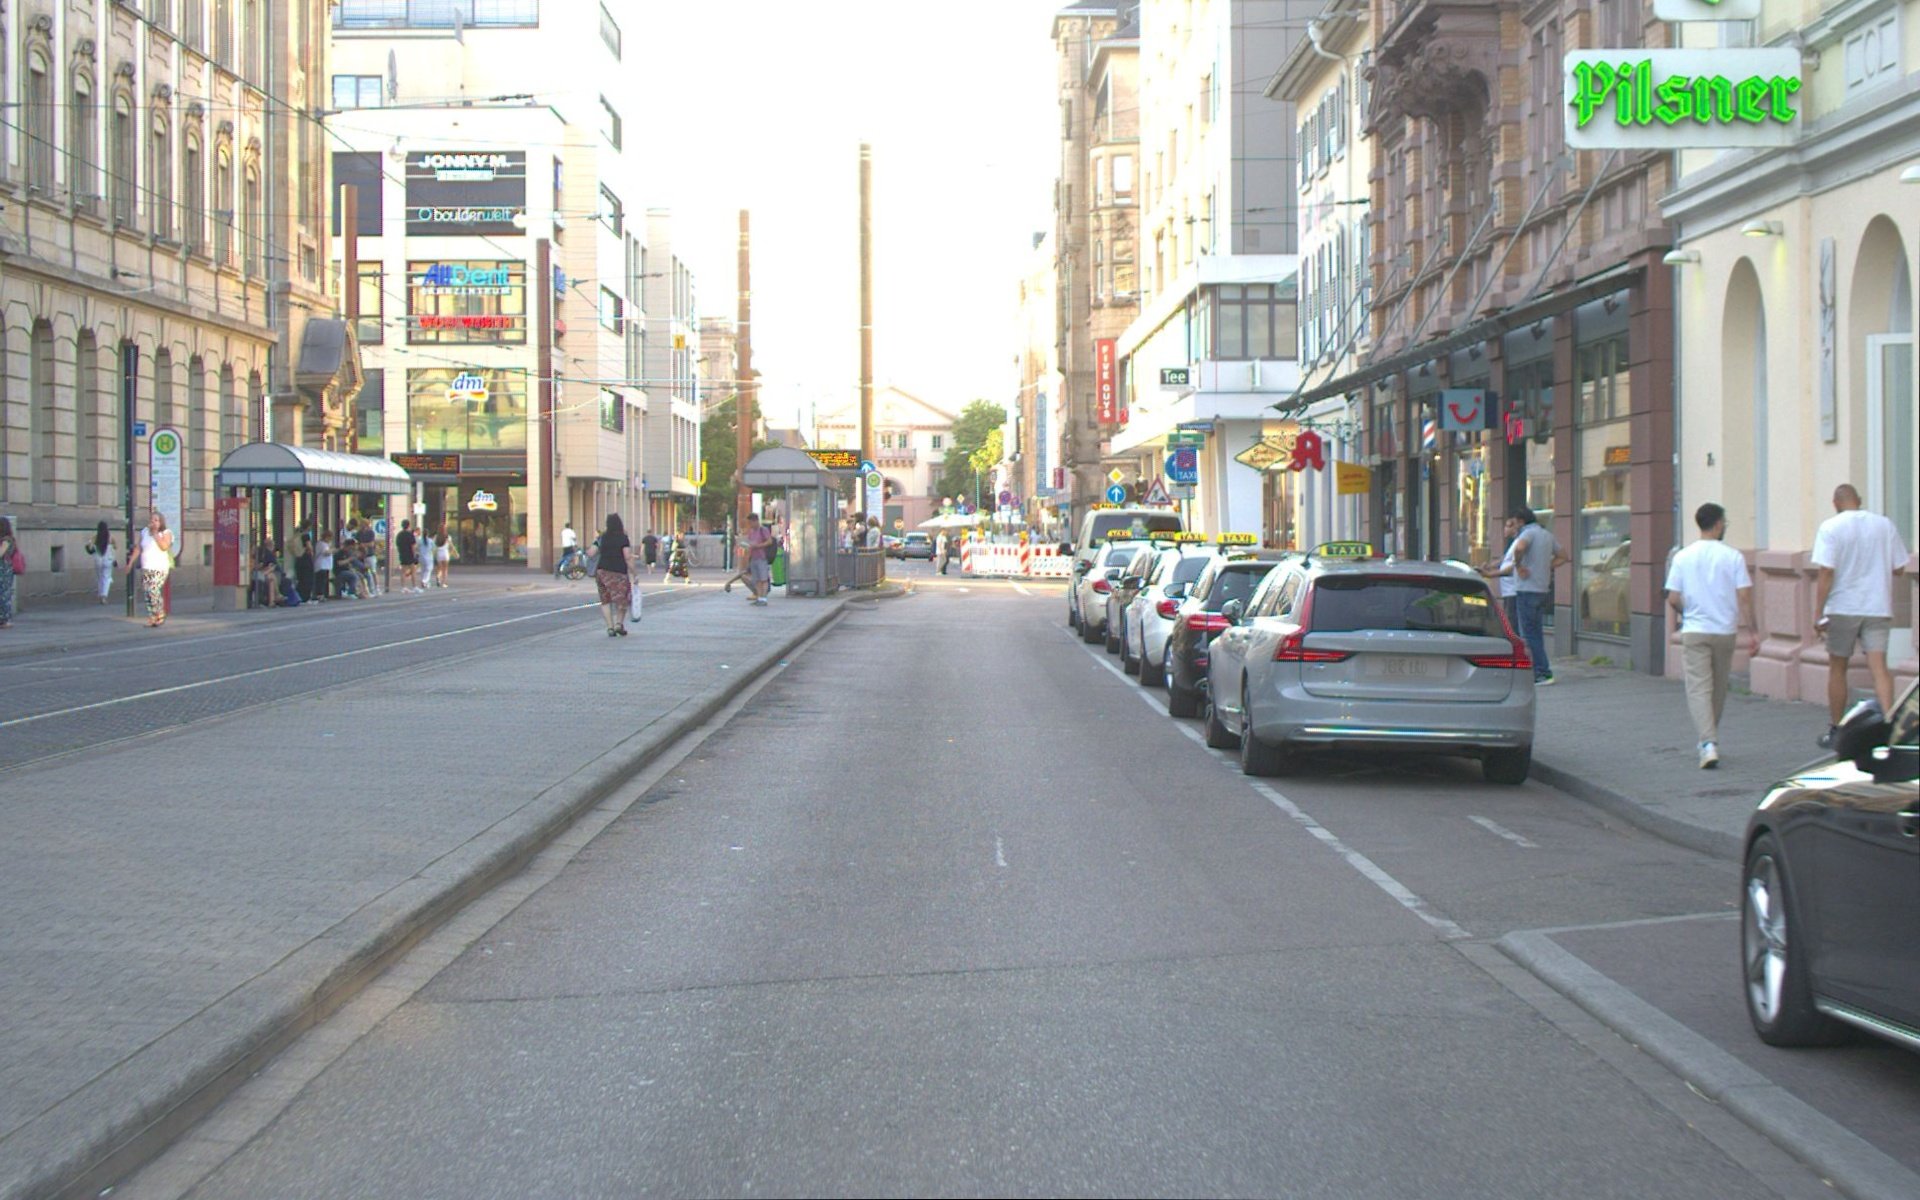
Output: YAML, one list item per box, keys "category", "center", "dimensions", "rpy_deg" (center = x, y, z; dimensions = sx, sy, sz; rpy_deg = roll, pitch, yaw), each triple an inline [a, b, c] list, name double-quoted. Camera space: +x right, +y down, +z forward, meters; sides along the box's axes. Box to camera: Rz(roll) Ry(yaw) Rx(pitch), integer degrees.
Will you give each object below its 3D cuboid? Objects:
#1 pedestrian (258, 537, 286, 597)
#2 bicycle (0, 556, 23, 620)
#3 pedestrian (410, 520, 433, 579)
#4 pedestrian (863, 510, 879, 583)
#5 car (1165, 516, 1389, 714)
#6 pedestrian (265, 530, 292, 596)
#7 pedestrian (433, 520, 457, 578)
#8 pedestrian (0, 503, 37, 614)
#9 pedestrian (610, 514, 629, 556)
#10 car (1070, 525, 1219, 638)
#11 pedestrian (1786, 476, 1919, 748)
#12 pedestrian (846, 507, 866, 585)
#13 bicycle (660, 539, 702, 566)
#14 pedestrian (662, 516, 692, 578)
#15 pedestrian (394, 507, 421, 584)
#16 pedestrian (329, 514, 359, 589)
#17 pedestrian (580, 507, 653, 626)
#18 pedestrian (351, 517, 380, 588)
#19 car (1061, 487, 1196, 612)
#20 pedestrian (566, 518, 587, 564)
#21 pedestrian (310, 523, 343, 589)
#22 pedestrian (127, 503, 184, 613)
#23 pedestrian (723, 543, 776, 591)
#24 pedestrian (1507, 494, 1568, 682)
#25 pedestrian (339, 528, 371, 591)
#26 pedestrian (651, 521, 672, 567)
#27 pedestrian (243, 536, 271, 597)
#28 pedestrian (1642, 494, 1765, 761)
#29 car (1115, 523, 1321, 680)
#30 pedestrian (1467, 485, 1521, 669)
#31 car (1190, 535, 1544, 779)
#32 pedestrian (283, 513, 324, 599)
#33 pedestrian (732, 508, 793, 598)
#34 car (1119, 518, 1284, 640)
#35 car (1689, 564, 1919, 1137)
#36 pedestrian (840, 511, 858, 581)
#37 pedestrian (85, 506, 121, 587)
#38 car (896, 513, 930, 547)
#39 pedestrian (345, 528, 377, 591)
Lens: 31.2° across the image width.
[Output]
- category: "pedestrian"
  center: [-12.585, -0.606, 62.891]
  dimensions: [0.364, 1.099, 0.429]
  rpy_deg: [1, 0, 6]
- category: "bicycle"
  center: [-13.840, -0.186, 47.620]
  dimensions: [1.576, 0.871, 0.451]
  rpy_deg: [1, 1, 5]
- category: "pedestrian"
  center: [-13.990, -1.302, 89.261]
  dimensions: [0.518, 1.520, 0.501]
  rpy_deg: [0, 1, -17]
- category: "pedestrian"
  center: [-2.204, -1.312, 84.788]
  dimensions: [0.341, 1.789, 0.544]
  rpy_deg: [1, 0, -3]
- category: "car"
  center: [2.776, 0.100, 30.936]
  dimensions: [1.733, 1.585, 4.441]
  rpy_deg: [2, 1, 2]
- category: "pedestrian"
  center: [-12.635, -0.686, 63.736]
  dimensions: [0.364, 1.196, 0.429]
  rpy_deg: [1, 0, 6]
- category: "pedestrian"
  center: [-13.437, -1.338, 89.724]
  dimensions: [0.525, 1.520, 0.503]
  rpy_deg: [0, 1, -19]
- category: "pedestrian"
  center: [-13.821, -0.610, 50.064]
  dimensions: [0.571, 1.600, 0.440]
  rpy_deg: [1, 1, 26]
- category: "pedestrian"
  center: [-13.467, -2.560, 136.068]
  dimensions: [0.649, 1.668, 0.530]
  rpy_deg: [0, 1, 8]
- category: "car"
  center: [2.643, -0.313, 50.293]
  dimensions: [1.806, 1.478, 4.779]
  rpy_deg: [2, 1, -1]
- category: "pedestrian"
  center: [5.850, 0.070, 22.224]
  dimensions: [0.759, 1.683, 0.551]
  rpy_deg: [-4, 1, -1]
- category: "pedestrian"
  center: [-2.389, -1.235, 78.956]
  dimensions: [0.412, 1.761, 0.594]
  rpy_deg: [1, 0, -3]
- category: "bicycle"
  center: [-11.789, -2.009, 145.070]
  dimensions: [1.696, 1.118, 0.451]
  rpy_deg: [1, 0, 2]
- category: "pedestrian"
  center: [-8.408, -1.583, 102.316]
  dimensions: [0.699, 1.809, 0.852]
  rpy_deg: [1, 1, 7]
- category: "pedestrian"
  center: [-12.782, -1.267, 79.509]
  dimensions: [0.559, 1.770, 0.469]
  rpy_deg: [0, 1, -4]
- category: "pedestrian"
  center: [-13.571, -1.071, 75.752]
  dimensions: [0.518, 1.640, 0.638]
  rpy_deg: [0, 0, 3]
- category: "pedestrian"
  center: [-4.359, -0.429, 43.644]
  dimensions: [0.846, 1.496, 0.901]
  rpy_deg: [0, 1, -1]
- category: "pedestrian"
  center: [-13.230, -1.056, 76.519]
  dimensions: [0.518, 1.564, 0.638]
  rpy_deg: [0, 0, 3]
- category: "car"
  center: [2.755, -0.825, 57.059]
  dimensions: [1.876, 1.917, 4.700]
  rpy_deg: [2, 1, -1]
- category: "pedestrian"
  center: [-15.433, -2.378, 138.348]
  dimensions: [0.573, 1.848, 0.816]
  rpy_deg: [1, 1, 11]
- category: "pedestrian"
  center: [-12.759, -0.881, 69.209]
  dimensions: [0.518, 1.323, 0.638]
  rpy_deg: [0, 0, 3]
- category: "pedestrian"
  center: [-11.412, -0.600, 48.791]
  dimensions: [0.659, 1.556, 0.680]
  rpy_deg: [0, 1, -1]
- category: "pedestrian"
  center: [-4.129, -0.650, 67.464]
  dimensions: [0.799, 0.936, 0.692]
  rpy_deg: [1, 1, 23]
- category: "pedestrian"
  center: [5.501, -0.119, 32.749]
  dimensions: [0.372, 1.762, 0.663]
  rpy_deg: [-2, 1, -4]
- category: "pedestrian"
  center: [-12.641, -0.846, 71.821]
  dimensions: [0.518, 1.323, 0.638]
  rpy_deg: [0, 0, 3]
- category: "pedestrian"
  center: [-11.586, -2.168, 133.441]
  dimensions: [0.782, 1.745, 0.600]
  rpy_deg: [1, 0, -3]
- category: "pedestrian"
  center: [-12.737, -0.603, 62.306]
  dimensions: [0.364, 1.099, 0.429]
  rpy_deg: [1, 0, 6]
- category: "pedestrian"
  center: [4.845, 0.172, 22.426]
  dimensions: [0.619, 1.683, 0.486]
  rpy_deg: [-4, 1, 7]
- category: "car"
  center: [2.696, -0.015, 36.888]
  dimensions: [1.732, 1.506, 4.865]
  rpy_deg: [2, 1, -1]
- category: "pedestrian"
  center: [5.170, -0.225, 33.321]
  dimensions: [0.372, 1.762, 0.456]
  rpy_deg: [-2, 1, -4]
- category: "car"
  center: [2.710, 0.314, 23.896]
  dimensions: [1.806, 1.470, 4.694]
  rpy_deg: [1, 1, -1]
- category: "pedestrian"
  center: [-12.760, -0.853, 66.824]
  dimensions: [0.518, 1.645, 0.637]
  rpy_deg: [0, 0, 22]
- category: "pedestrian"
  center: [-3.587, -0.858, 62.418]
  dimensions: [0.687, 1.632, 0.859]
  rpy_deg: [1, 1, 40]
- category: "car"
  center: [3.101, -0.284, 44.926]
  dimensions: [1.726, 1.472, 4.821]
  rpy_deg: [1, 1, -1]
- category: "car"
  center: [3.181, 0.602, 8.554]
  dimensions: [1.696, 1.385, 4.548]
  rpy_deg: [-1, 1, -1]
- category: "pedestrian"
  center: [-2.640, -1.289, 81.967]
  dimensions: [0.385, 1.636, 0.549]
  rpy_deg: [1, 0, -3]
- category: "pedestrian"
  center: [-16.463, -1.031, 66.020]
  dimensions: [0.659, 1.556, 0.680]
  rpy_deg: [0, 1, -14]
- category: "car"
  center: [-2.773, -4.124, 202.256]
  dimensions: [1.993, 1.897, 4.000]
  rpy_deg: [1, 1, -1]
- category: "pedestrian"
  center: [-12.649, -0.856, 72.589]
  dimensions: [0.518, 1.323, 0.638]
  rpy_deg: [0, 0, 3]
